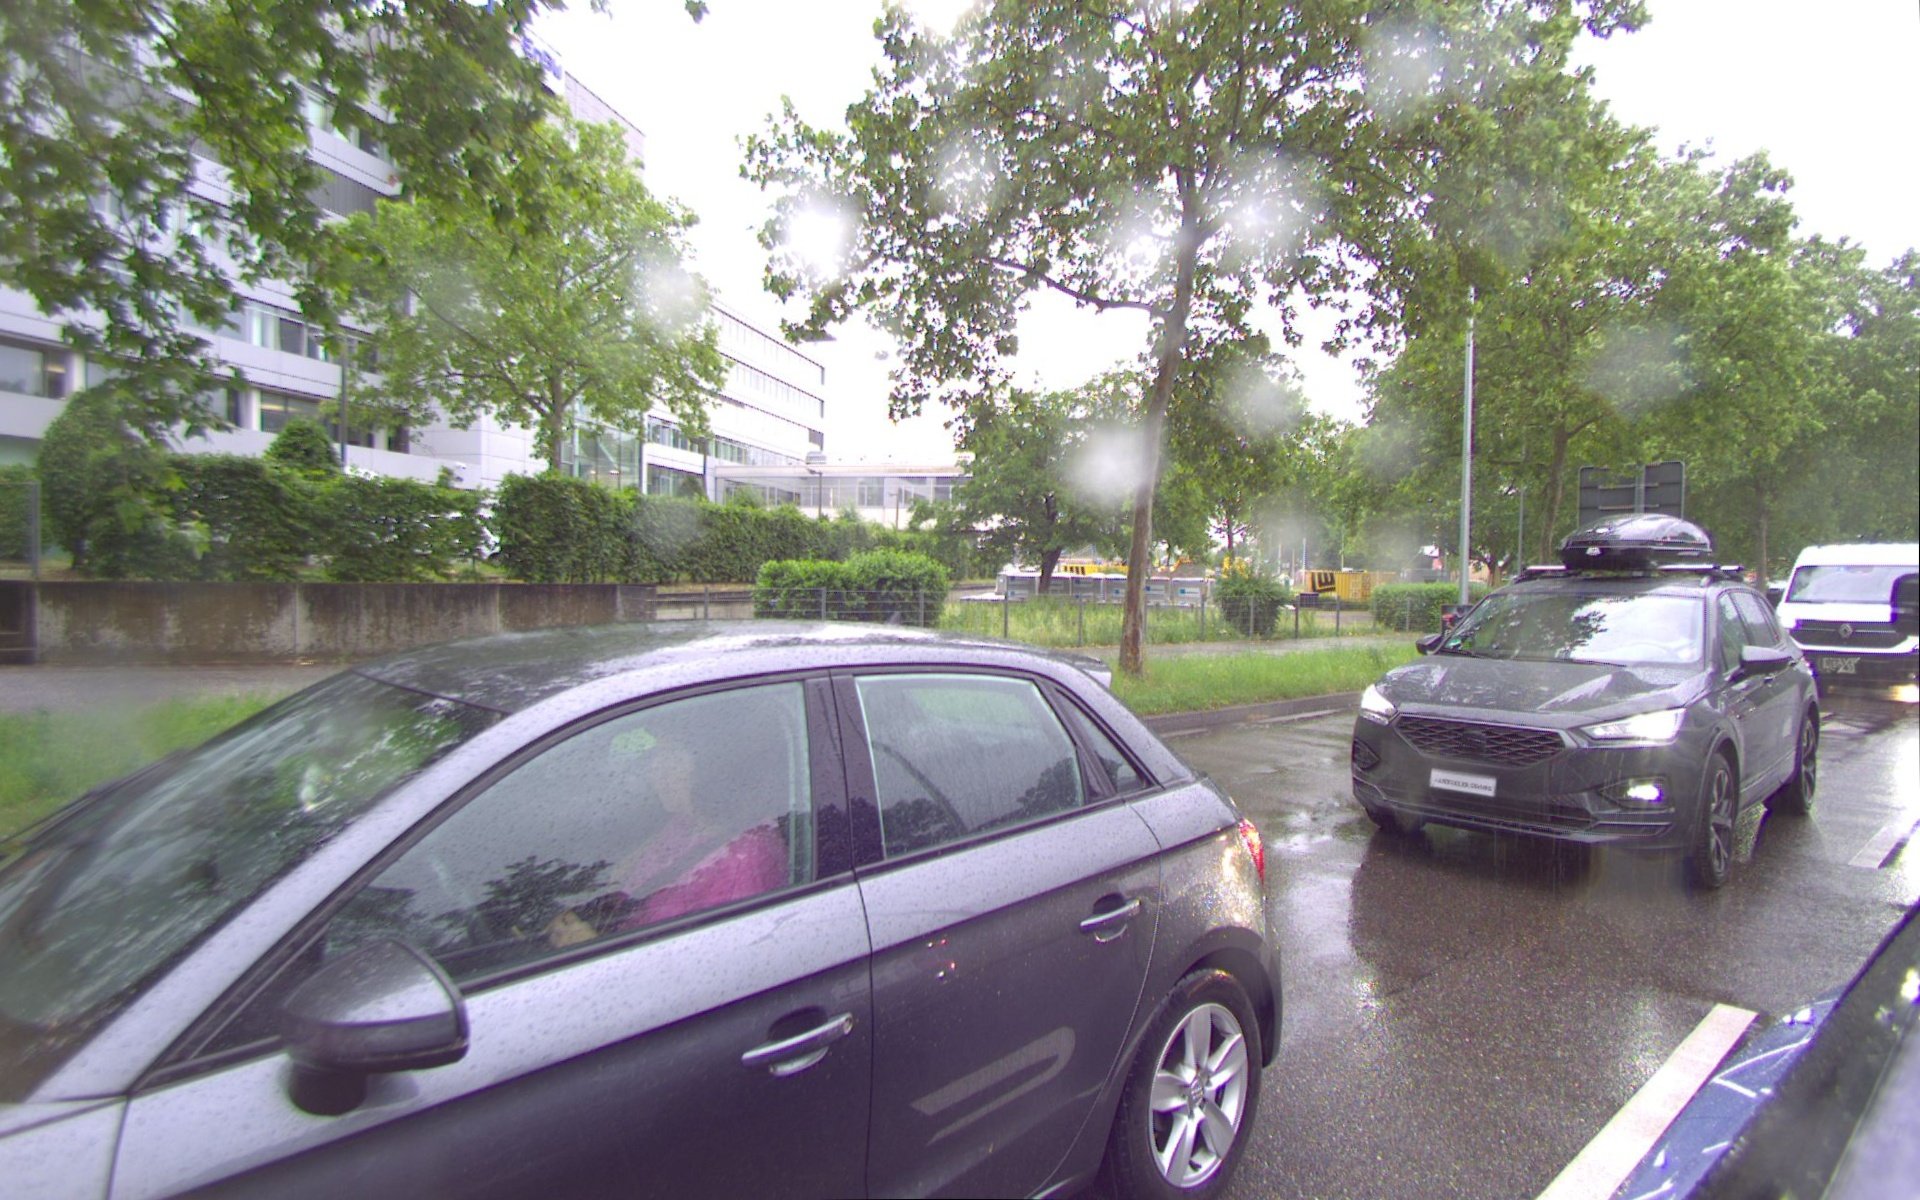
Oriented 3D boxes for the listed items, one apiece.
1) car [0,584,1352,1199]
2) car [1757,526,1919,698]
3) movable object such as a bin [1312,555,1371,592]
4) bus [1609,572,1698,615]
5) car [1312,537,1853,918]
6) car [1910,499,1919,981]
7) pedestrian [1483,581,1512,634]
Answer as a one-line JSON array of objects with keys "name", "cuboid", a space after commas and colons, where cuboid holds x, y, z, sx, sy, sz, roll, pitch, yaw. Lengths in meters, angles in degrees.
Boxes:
[{"name": "car", "cuboid": [-0.882, 0.701, 2.165, 3.715, 1.446, 1.679, 0, 1, -41]}, {"name": "car", "cuboid": [15.153, 0.149, 17.026, 5.227, 2.476, 1.892, 0, 1, -43]}, {"name": "movable object such as a bin", "cuboid": [36.083, -2.505, 95.886, 4.839, 3.478, 1.920, 0, 0, -5]}, {"name": "bus", "cuboid": [43.727, -0.420, 63.916, 1.681, 2.600, 4.366, 0, 0, -41]}, {"name": "car", "cuboid": [4.342, 0.552, 6.740, 4.347, 1.719, 1.892, 0, 1, -42]}, {"name": "car", "cuboid": [6.322, 0.177, 4.957, 5.599, 2.544, 2.024, 0, 1, -43]}, {"name": "pedestrian", "cuboid": [17.801, 0.233, 33.513, 0.645, 1.738, 0.645, 0, 0, -40]}]
